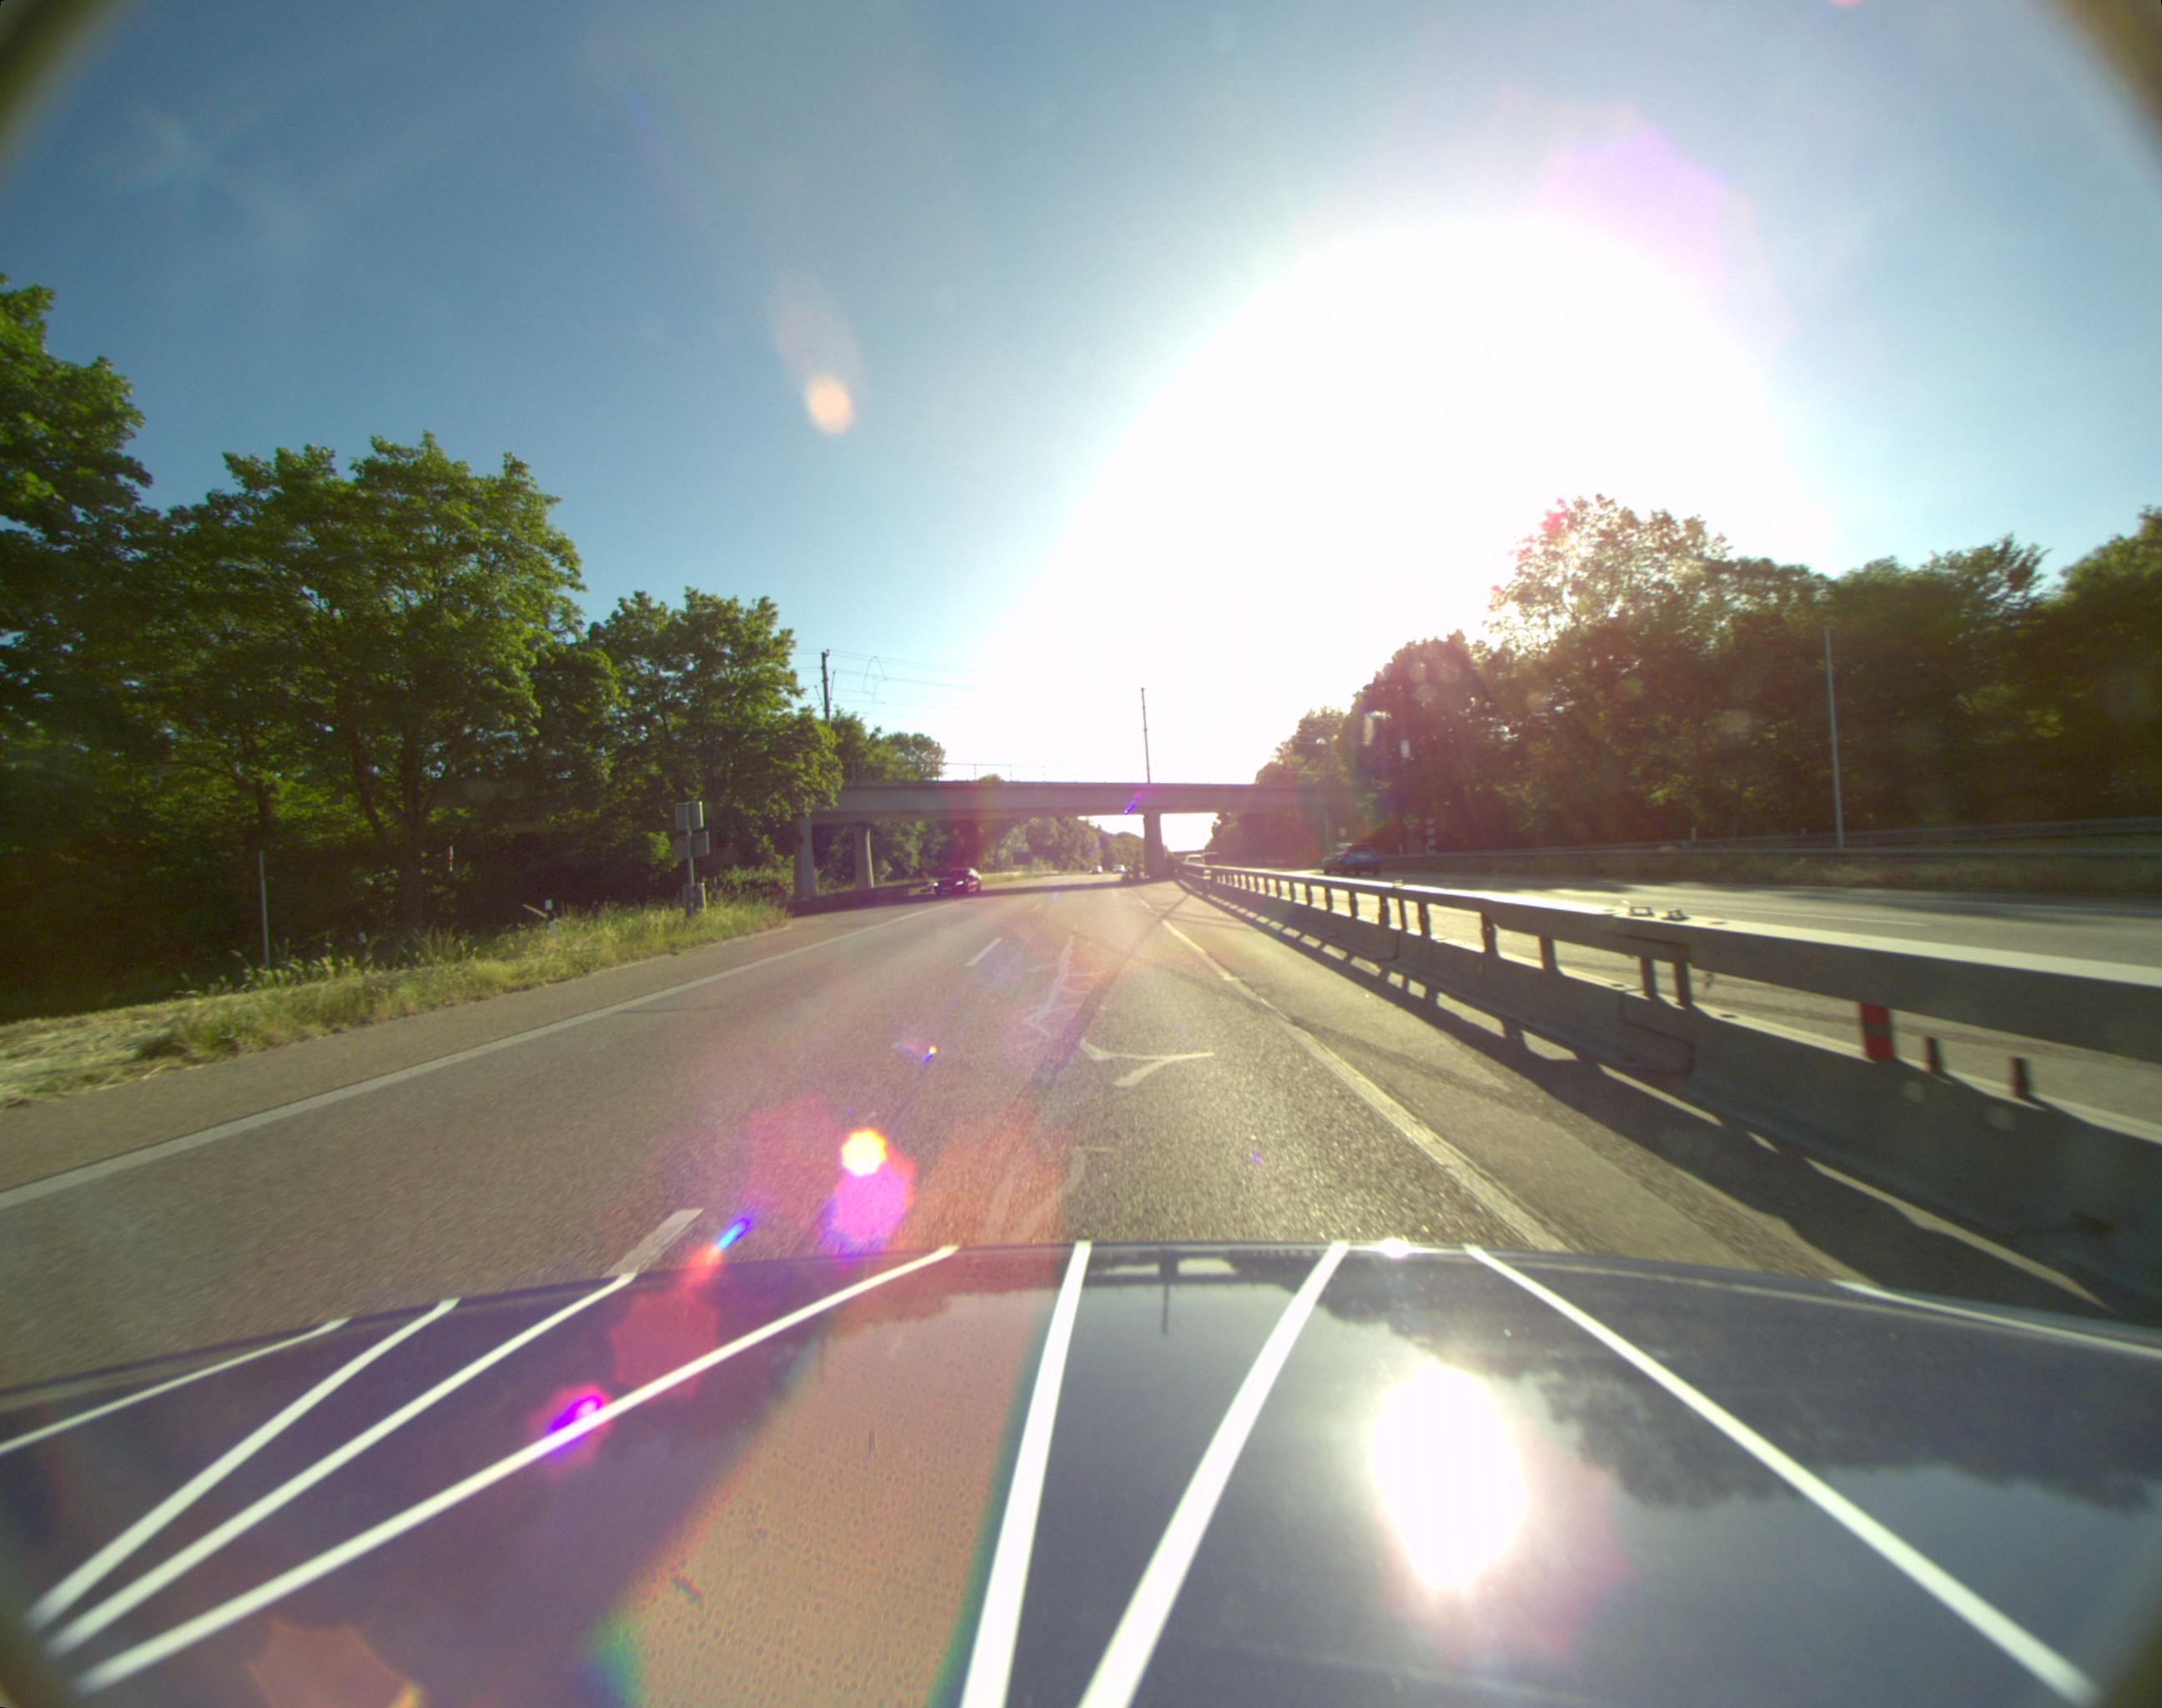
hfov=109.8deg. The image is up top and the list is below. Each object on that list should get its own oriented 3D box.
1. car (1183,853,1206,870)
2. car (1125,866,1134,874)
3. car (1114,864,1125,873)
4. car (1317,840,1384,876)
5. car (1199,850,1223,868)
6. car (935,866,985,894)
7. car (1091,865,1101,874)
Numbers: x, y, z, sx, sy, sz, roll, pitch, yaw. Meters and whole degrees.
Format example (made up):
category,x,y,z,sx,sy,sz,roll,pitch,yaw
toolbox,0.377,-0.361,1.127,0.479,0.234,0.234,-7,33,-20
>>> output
category,x,y,z,sx,sy,sz,roll,pitch,yaw
car,11.397,0.739,76.545,1.791,1.569,4.533,-2,0,2
car,10.516,3.439,164.255,1.725,1.412,3.671,-3,-1,5
car,6.472,2.367,127.953,1.725,1.412,3.670,-3,-1,2
car,12.916,0.179,36.706,1.677,1.563,4.321,-2,0,0
car,15.363,0.602,90.022,1.998,1.899,5.522,-3,0,2
car,-6.895,1.457,43.545,1.762,1.401,4.057,-3,0,6
car,2.535,2.601,128.071,1.683,1.412,3.670,-3,-1,2
